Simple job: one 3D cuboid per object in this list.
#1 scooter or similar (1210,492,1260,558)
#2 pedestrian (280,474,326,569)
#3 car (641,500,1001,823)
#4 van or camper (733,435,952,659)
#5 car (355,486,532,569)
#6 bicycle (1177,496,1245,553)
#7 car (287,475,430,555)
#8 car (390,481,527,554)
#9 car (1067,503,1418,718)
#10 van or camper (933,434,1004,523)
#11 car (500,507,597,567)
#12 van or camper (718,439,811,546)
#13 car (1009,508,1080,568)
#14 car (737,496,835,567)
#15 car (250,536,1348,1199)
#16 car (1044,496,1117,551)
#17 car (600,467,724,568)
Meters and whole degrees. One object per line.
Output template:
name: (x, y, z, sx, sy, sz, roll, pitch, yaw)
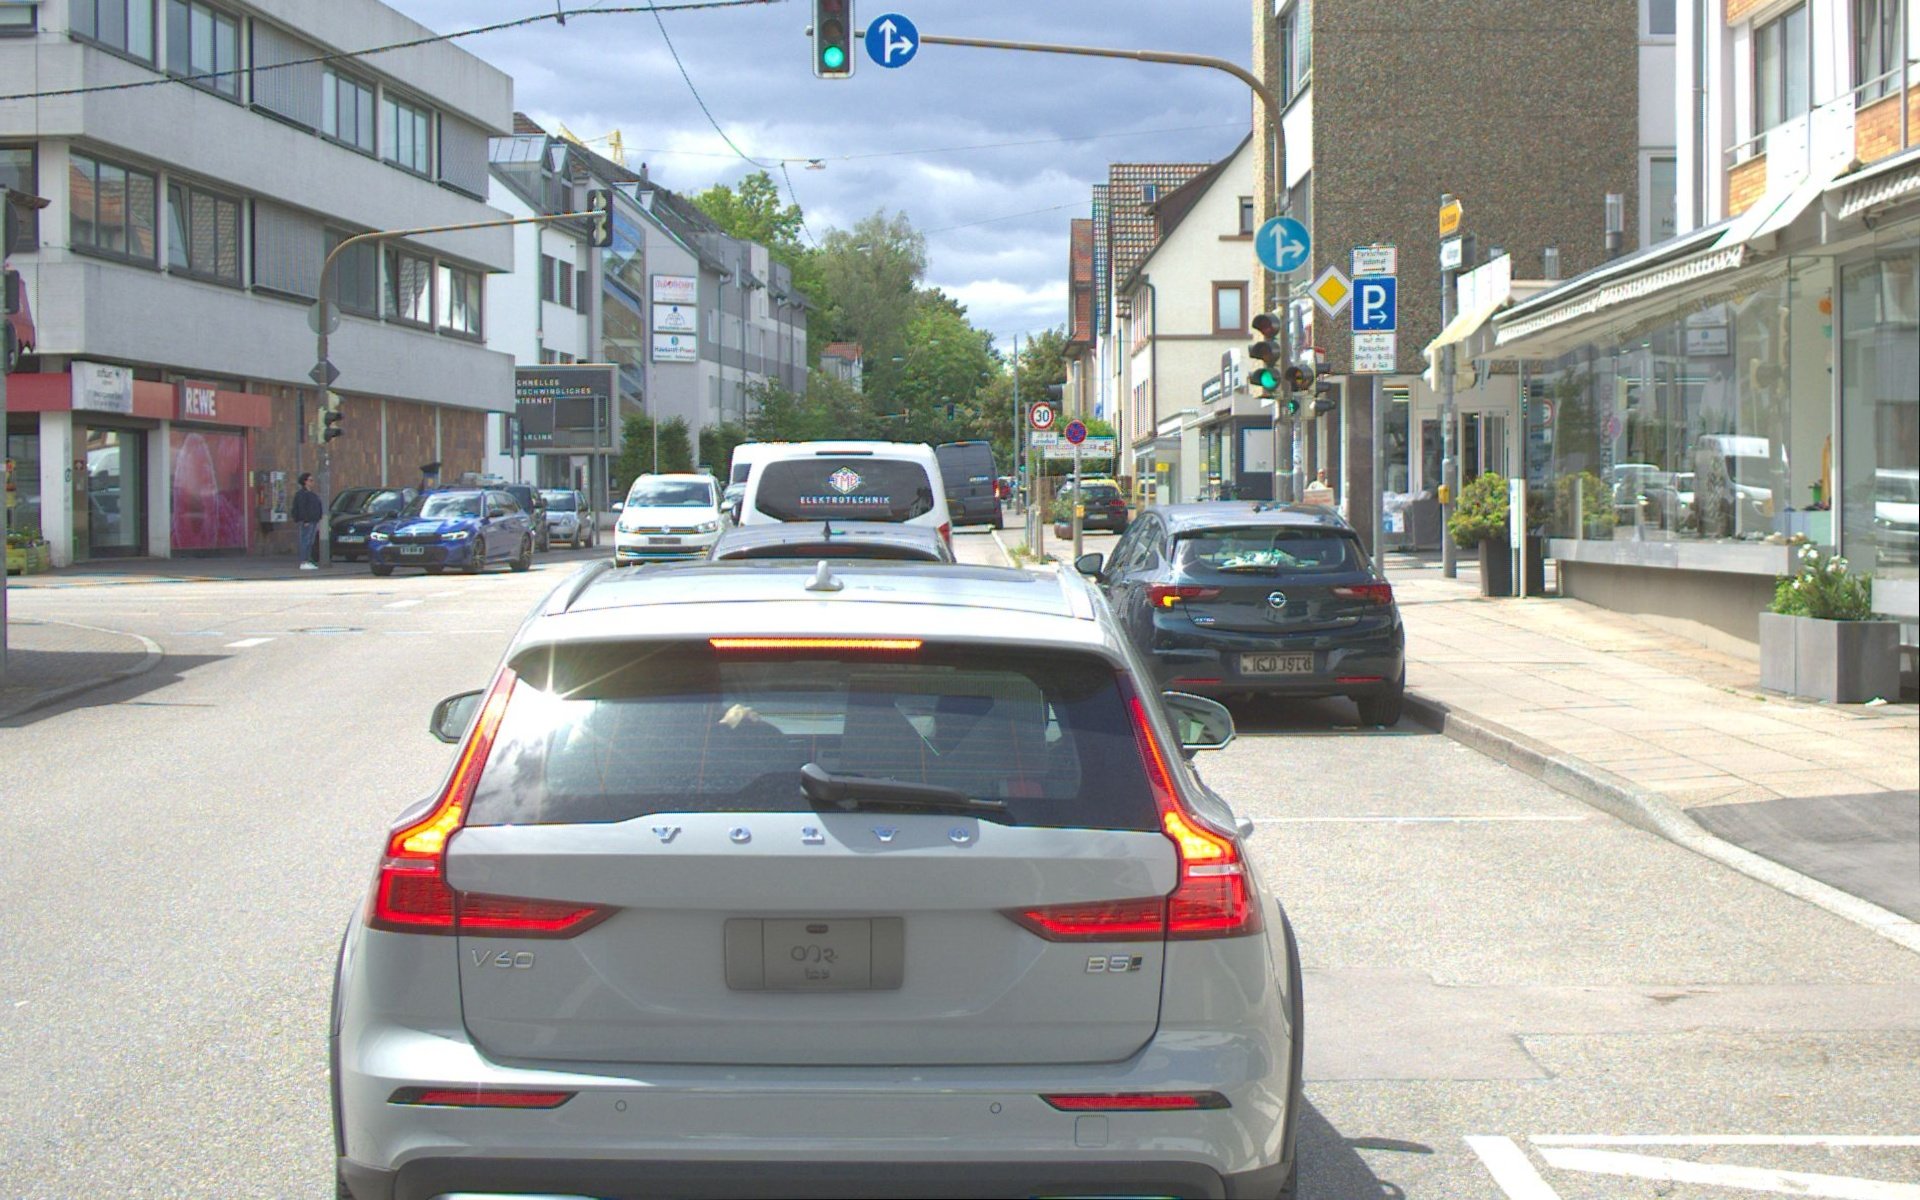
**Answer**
scooter or similar: (5.364, -1.464, 67.126, 0.340, 1.249, 1.246, -3, 2, -26)
pedestrian: (-11.339, -1.360, 59.350, 0.619, 1.635, 0.660, -1, 2, 1)
car: (-0.662, 0.238, 17.693, 1.650, 1.477, 3.608, 1, 1, -1)
van or camper: (-0.999, -0.535, 30.580, 1.819, 1.828, 4.001, 0, 3, -1)
car: (-8.736, -1.264, 58.523, 1.994, 1.333, 4.356, -1, 2, 5)
bicycle: (5.130, -1.553, 70.482, 0.554, 1.140, 2.301, -2, 2, -18)
car: (-11.588, -1.644, 66.469, 1.785, 1.459, 4.086, 1, 2, 4)
car: (-10.466, -1.748, 72.053, 1.904, 1.438, 4.443, 1, 2, 4)
car: (1.825, 0.035, 23.345, 1.807, 1.342, 3.719, 0, 1, -4)
van or camper: (0.279, -3.803, 107.309, 2.123, 2.677, 4.781, -1, 2, 1)
car: (-10.045, -1.543, 84.180, 1.755, 1.421, 3.862, 0, 1, 2)
van or camper: (-4.819, -2.720, 85.536, 2.148, 2.547, 5.439, -1, 3, -2)
car: (1.826, -1.348, 75.124, 1.438, 1.283, 3.248, 0, 1, -1)
car: (-3.750, -1.478, 74.510, 1.791, 1.506, 3.845, 0, 1, 2)
car: (-0.292, 0.602, 7.754, 1.836, 1.481, 4.000, 0, 1, -1)
car: (3.327, -2.099, 95.491, 1.710, 1.459, 4.000, 1, 0, -2)
car: (-5.072, -1.445, 58.957, 1.775, 1.607, 4.120, -1, 3, -1)
